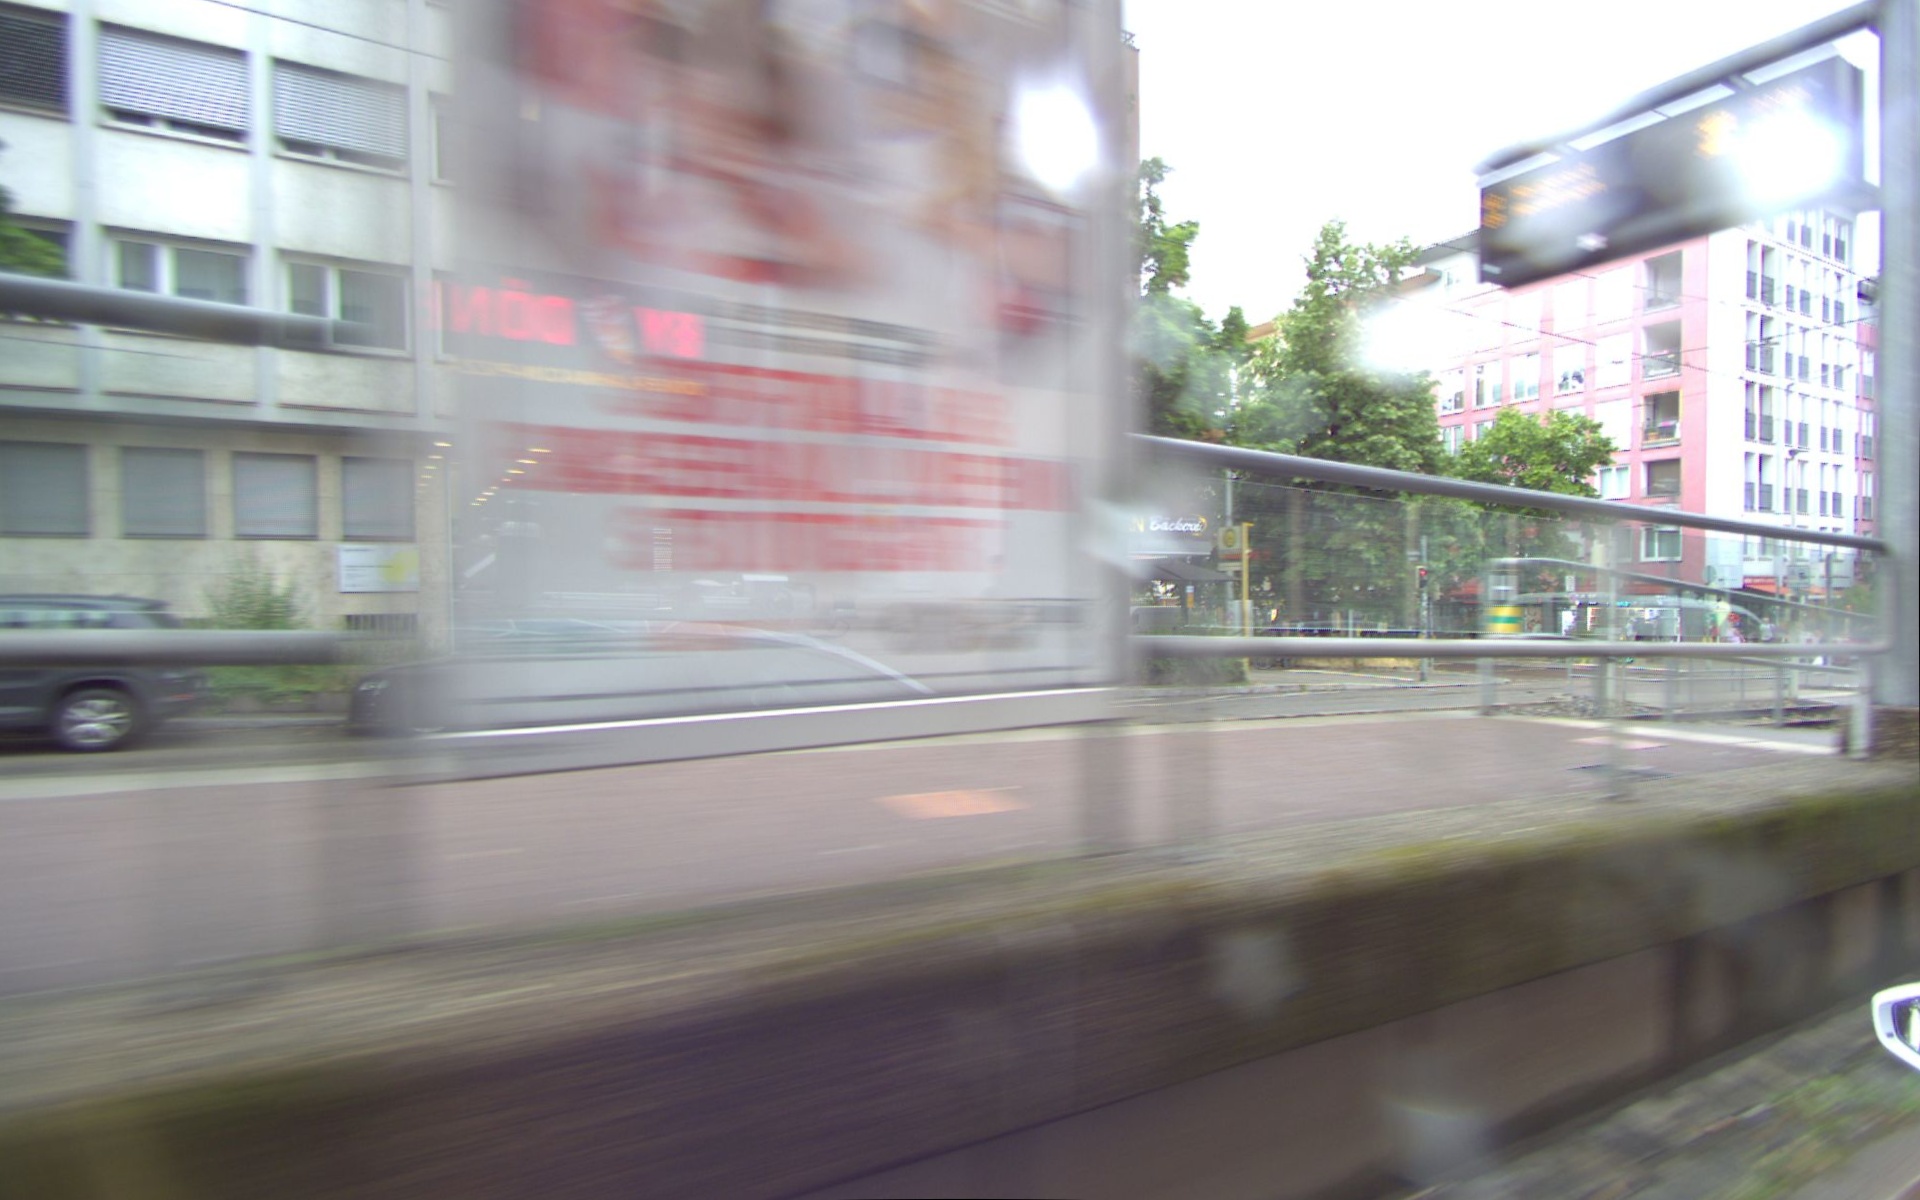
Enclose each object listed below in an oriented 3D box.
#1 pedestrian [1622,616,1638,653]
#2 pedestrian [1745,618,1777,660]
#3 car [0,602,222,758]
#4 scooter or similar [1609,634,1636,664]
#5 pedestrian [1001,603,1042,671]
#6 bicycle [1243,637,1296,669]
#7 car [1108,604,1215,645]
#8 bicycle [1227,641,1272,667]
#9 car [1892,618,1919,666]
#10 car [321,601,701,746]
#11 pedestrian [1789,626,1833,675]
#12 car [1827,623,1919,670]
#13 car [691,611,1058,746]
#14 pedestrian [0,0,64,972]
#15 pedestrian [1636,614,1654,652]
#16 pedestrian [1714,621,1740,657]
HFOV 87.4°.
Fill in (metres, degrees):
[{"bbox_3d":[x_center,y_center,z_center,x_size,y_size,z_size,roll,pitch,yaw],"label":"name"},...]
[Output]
[{"bbox_3d":[30.264,1.554,45.382,0.570,1.653,0.609,2,1,34],"label":"pedestrian"},{"bbox_3d":[33.439,1.623,41.929,0.977,1.720,0.813,1,1,-38],"label":"pedestrian"},{"bbox_3d":[-10.505,0.794,10.467,4.319,1.556,1.631,2,-1,-30],"label":"car"},{"bbox_3d":[26.461,1.953,40.106,1.197,1.207,0.387,1,-1,-29],"label":"scooter or similar"},{"bbox_3d":[1.497,0.901,24.380,0.808,1.617,0.556,1,-1,-28],"label":"pedestrian"},{"bbox_3d":[9.694,1.661,31.443,1.851,0.972,0.477,2,-2,-30],"label":"bicycle"},{"bbox_3d":[13.299,1.608,66.009,7.011,2.567,2.405,1,-1,-28],"label":"car"},{"bbox_3d":[9.323,1.735,32.328,1.627,0.827,0.337,2,-1,-30],"label":"bicycle"},{"bbox_3d":[39.290,1.664,40.348,4.273,1.883,1.698,1,-1,-33],"label":"car"},{"bbox_3d":[-5.775,0.893,13.218,4.319,1.645,1.631,2,-1,-30],"label":"car"},{"bbox_3d":[29.791,1.746,35.163,0.791,1.653,0.882,-1,1,4],"label":"pedestrian"},{"bbox_3d":[34.463,1.685,37.513,4.496,1.633,1.719,0,-1,-29],"label":"car"},{"bbox_3d":[-1.013,0.931,12.991,4.482,1.481,1.682,2,-1,-33],"label":"car"},{"bbox_3d":[-1.539,-0.292,1.112,0.693,1.578,0.580,1,-1,-32],"label":"pedestrian"},{"bbox_3d":[30.572,1.468,44.832,0.535,1.653,0.574,2,1,24],"label":"pedestrian"},{"bbox_3d":[32.127,1.620,42.078,0.649,1.481,0.636,1,1,-31],"label":"pedestrian"}]
